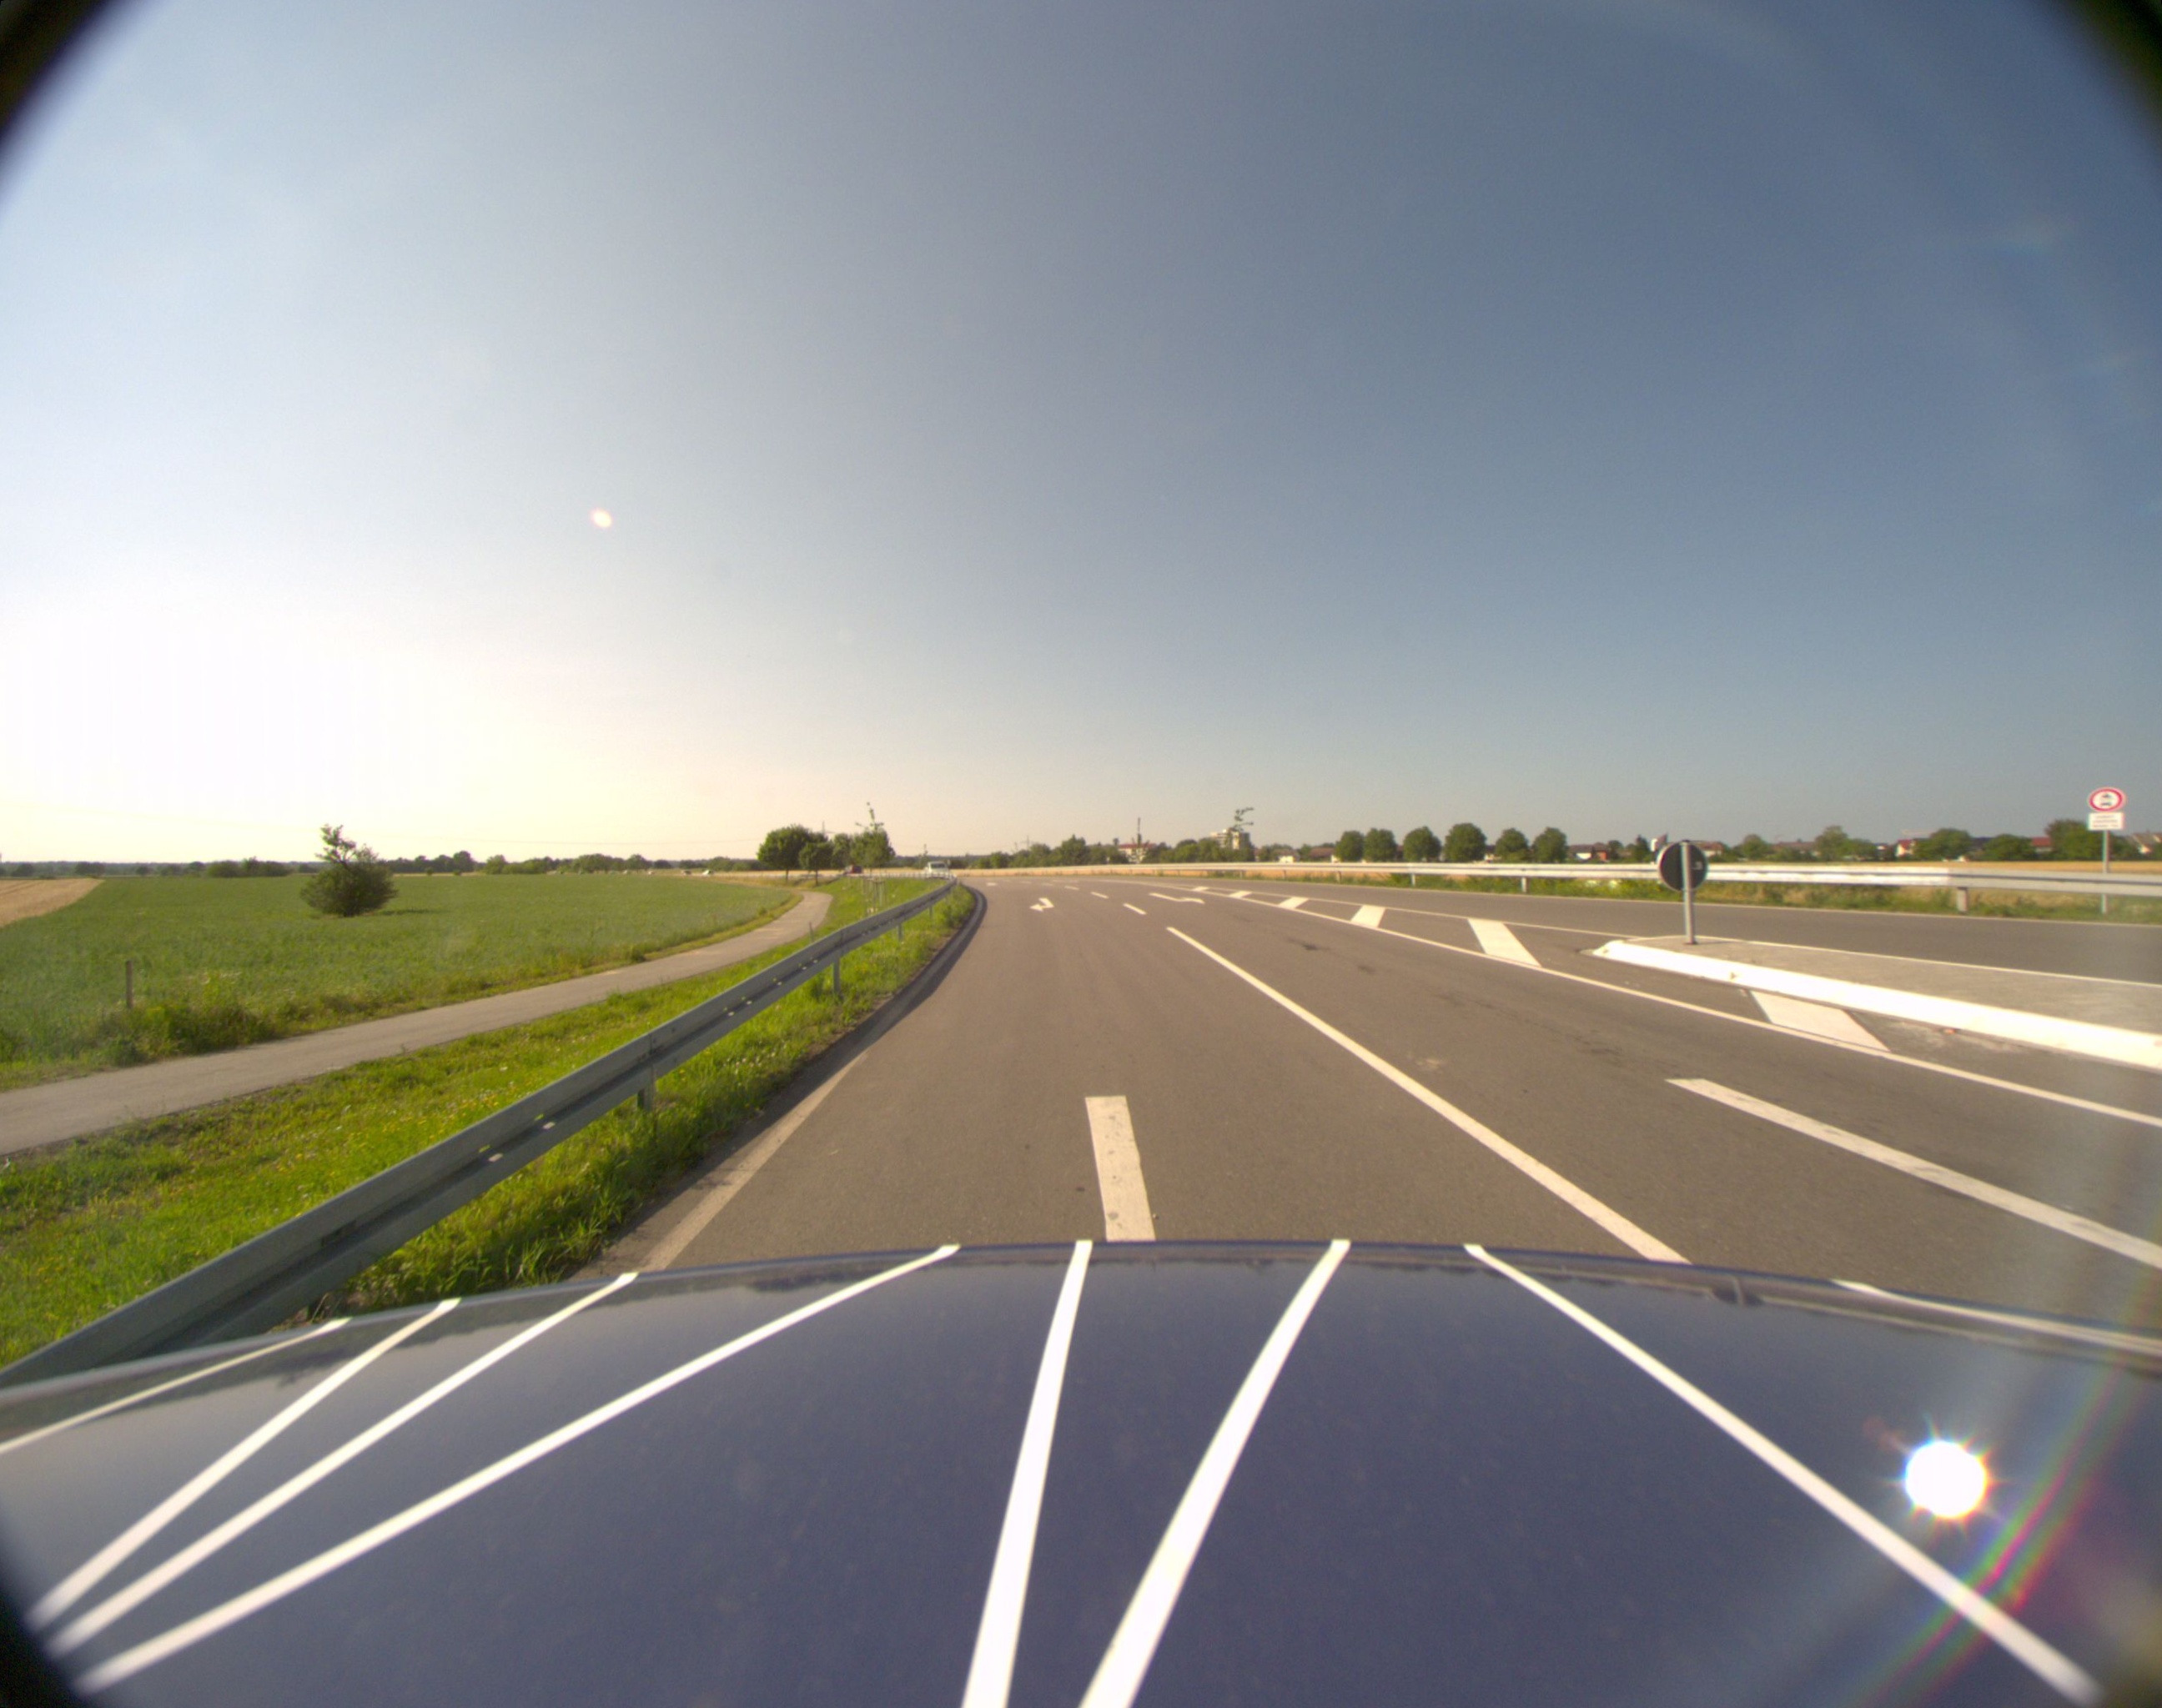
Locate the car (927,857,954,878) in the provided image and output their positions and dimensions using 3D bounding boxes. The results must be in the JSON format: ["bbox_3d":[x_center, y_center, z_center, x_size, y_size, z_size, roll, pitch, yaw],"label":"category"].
[{"bbox_3d":[-12.482,1.143,67.411,1.757,1.685,4.208,-3,1,-17],"label":"car"}]

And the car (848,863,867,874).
[{"bbox_3d":[-36.662,2.324,124.602,1.818,1.663,3.990,-3,1,-32],"label":"car"}]

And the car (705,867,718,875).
[{"bbox_3d":[-93.261,4.279,191.753,2.004,1.746,3.989,-1,-1,-42],"label":"car"}]
